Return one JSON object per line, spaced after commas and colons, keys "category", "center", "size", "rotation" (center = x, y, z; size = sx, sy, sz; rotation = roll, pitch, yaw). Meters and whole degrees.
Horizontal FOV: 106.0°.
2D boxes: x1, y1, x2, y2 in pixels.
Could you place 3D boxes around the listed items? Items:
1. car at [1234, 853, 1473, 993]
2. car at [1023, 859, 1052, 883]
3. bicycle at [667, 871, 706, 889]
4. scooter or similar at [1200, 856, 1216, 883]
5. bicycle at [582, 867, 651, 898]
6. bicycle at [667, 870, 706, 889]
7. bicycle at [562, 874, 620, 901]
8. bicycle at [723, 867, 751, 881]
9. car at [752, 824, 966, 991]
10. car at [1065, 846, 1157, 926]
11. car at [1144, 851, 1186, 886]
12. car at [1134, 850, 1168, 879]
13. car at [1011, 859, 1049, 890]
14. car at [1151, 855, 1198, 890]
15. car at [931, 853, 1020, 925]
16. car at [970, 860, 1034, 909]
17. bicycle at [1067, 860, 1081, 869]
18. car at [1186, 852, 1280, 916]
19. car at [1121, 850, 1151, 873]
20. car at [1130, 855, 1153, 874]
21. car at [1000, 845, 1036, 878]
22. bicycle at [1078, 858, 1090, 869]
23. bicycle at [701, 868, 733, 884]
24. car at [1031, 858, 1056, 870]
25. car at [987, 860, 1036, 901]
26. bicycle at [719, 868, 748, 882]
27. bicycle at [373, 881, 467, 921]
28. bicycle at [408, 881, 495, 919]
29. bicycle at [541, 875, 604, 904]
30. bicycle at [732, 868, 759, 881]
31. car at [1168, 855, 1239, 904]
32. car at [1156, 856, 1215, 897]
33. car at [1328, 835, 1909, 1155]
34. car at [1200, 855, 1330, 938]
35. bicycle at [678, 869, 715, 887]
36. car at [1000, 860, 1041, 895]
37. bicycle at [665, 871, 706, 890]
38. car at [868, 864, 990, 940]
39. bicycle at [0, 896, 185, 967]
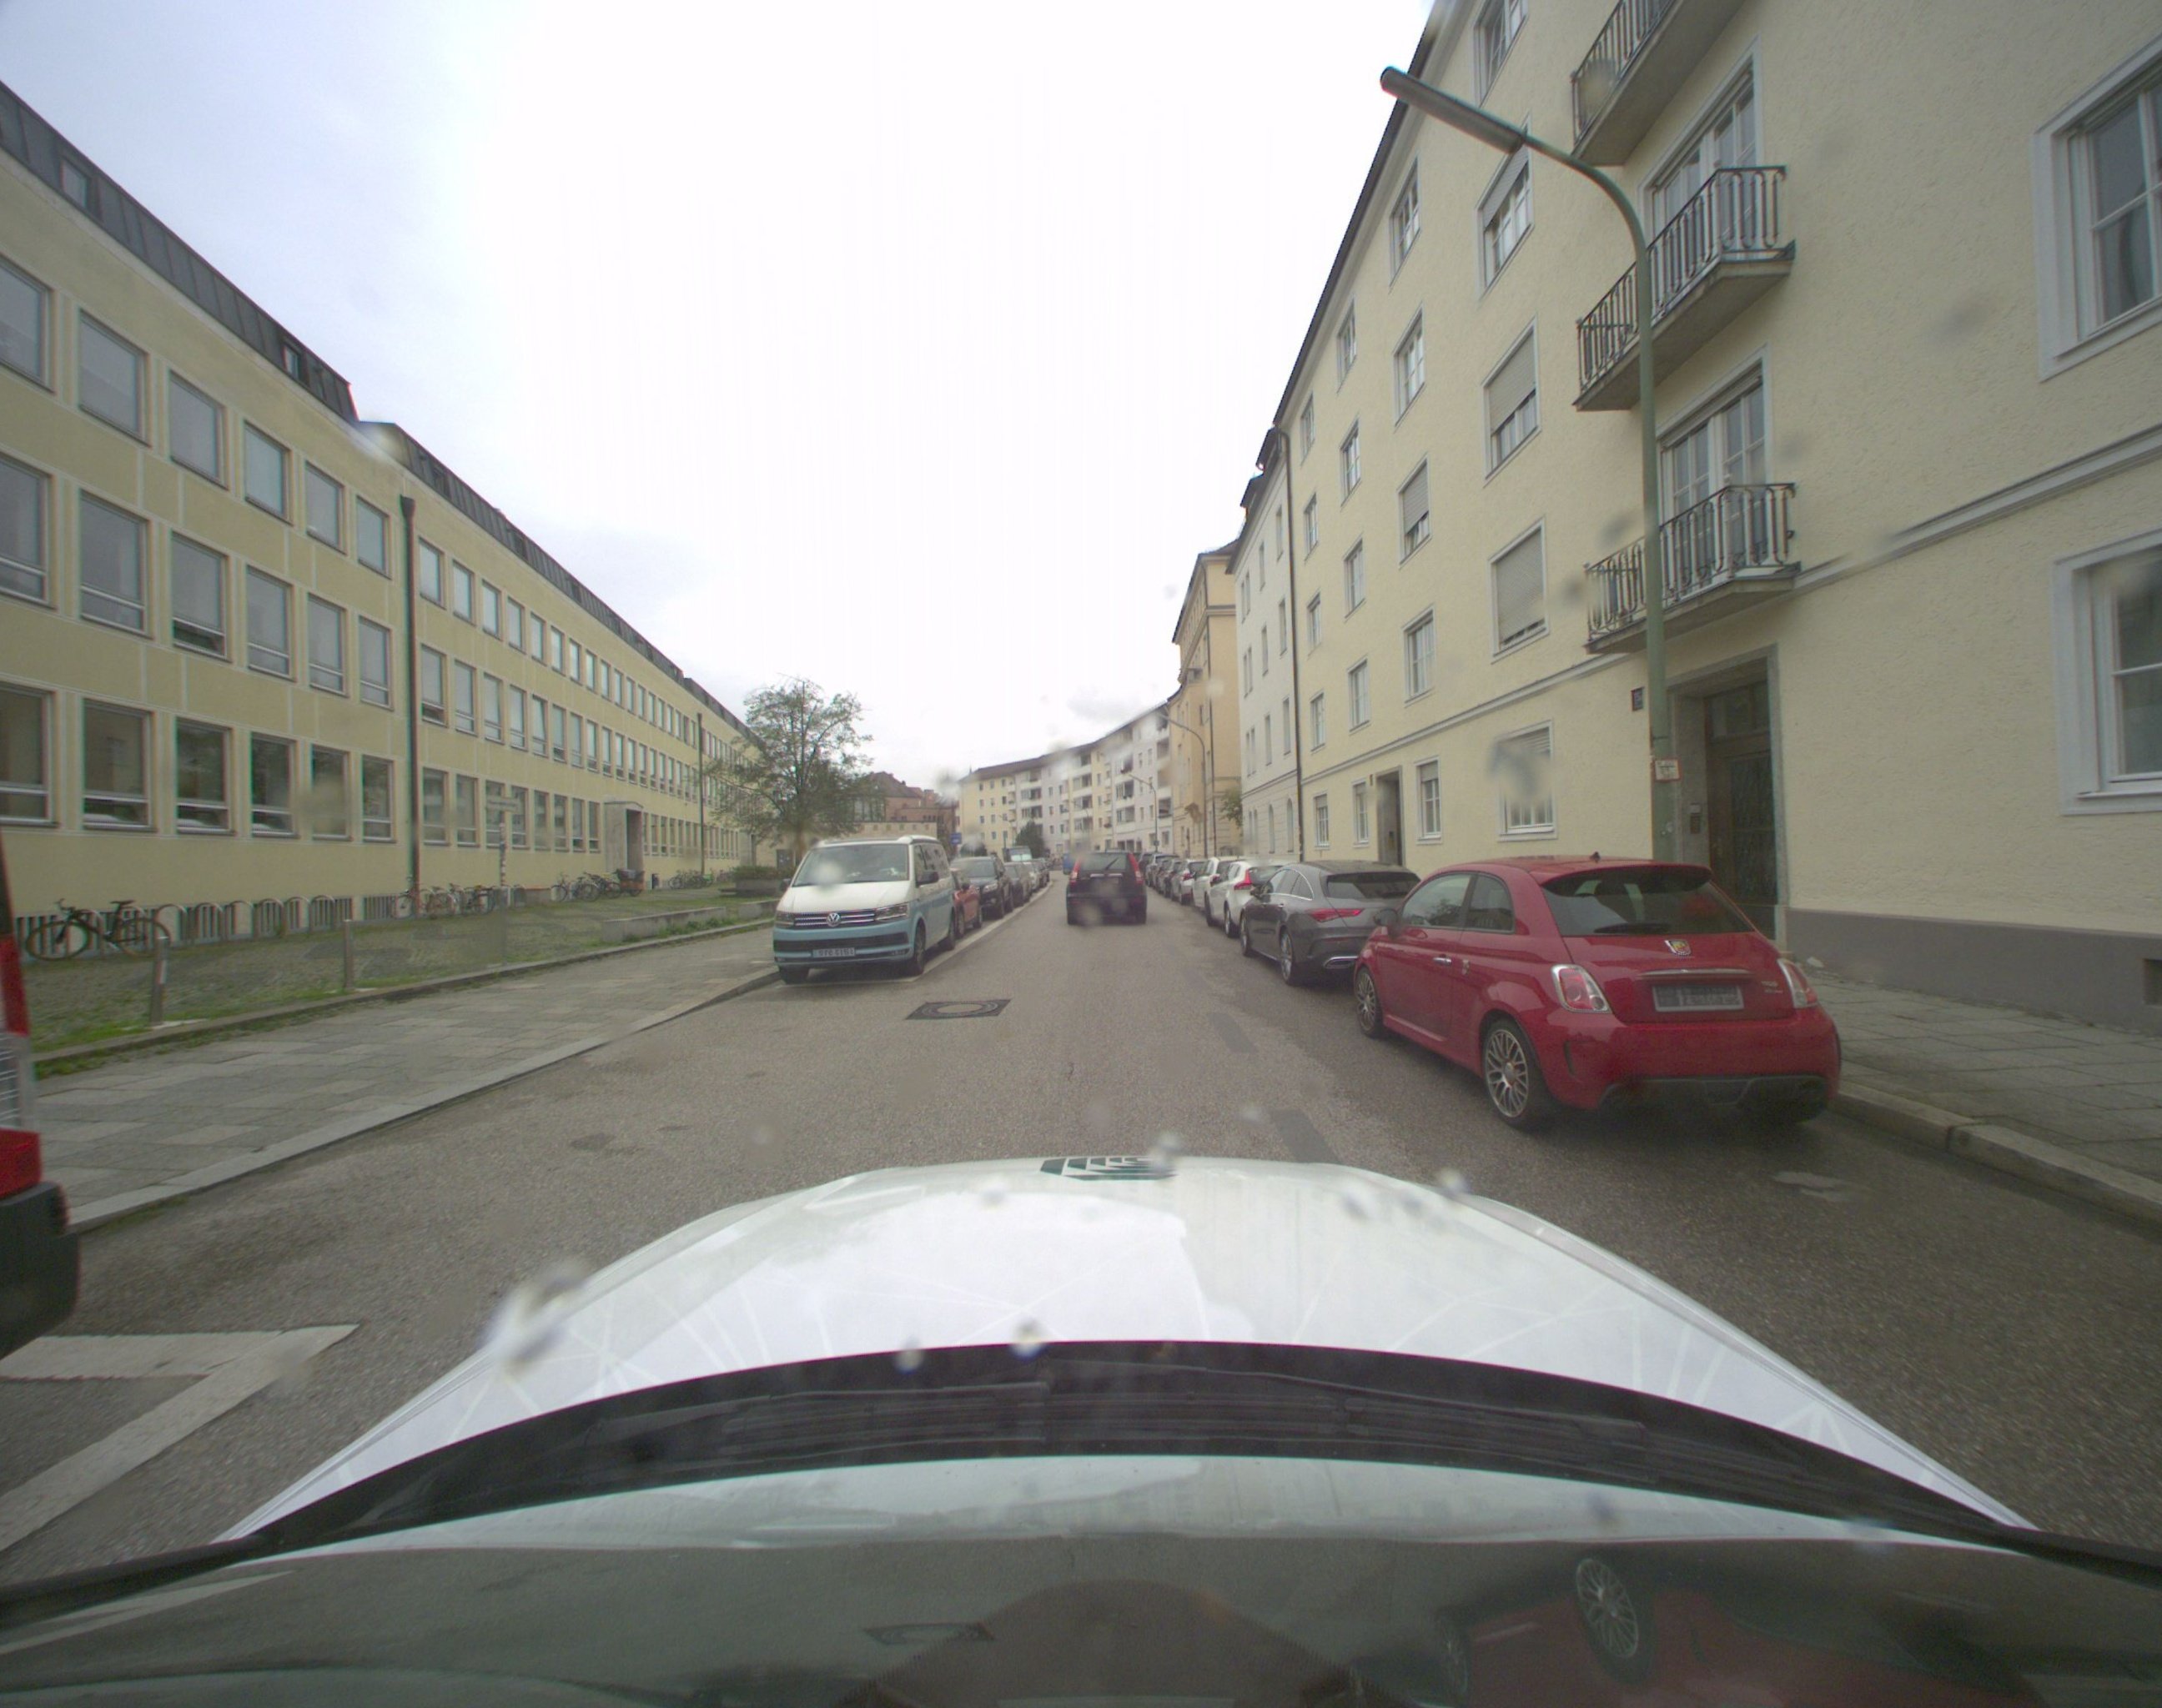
{"category": "car", "center": [3.238, 0.730, 10.657], "size": [1.673, 1.410, 4.422], "rotation": [-2, 0, 1]}
{"category": "car", "center": [-2.879, 1.083, 53.937], "size": [1.795, 1.406, 4.450], "rotation": [-4, 0, -3]}
{"category": "bicycle", "center": [-22.845, 1.499, 47.199], "size": [1.948, 1.014, 0.623], "rotation": [-2, 0, -13]}
{"category": "scooter or similar", "center": [5.549, 0.685, 35.747], "size": [0.483, 1.164, 1.172], "rotation": [-1, -1, -1]}
{"category": "bicycle", "center": [-20.773, 1.257, 36.490], "size": [2.439, 1.248, 1.051], "rotation": [-2, 0, -16]}
{"category": "bicycle", "center": [-23.421, 1.497, 48.329], "size": [1.948, 1.014, 0.623], "rotation": [-2, 0, -13]}
{"category": "bicycle", "center": [-20.383, 1.374, 33.896], "size": [1.950, 1.014, 0.622], "rotation": [-2, 0, -16]}
{"category": "bicycle", "center": [-26.616, 1.574, 63.023], "size": [1.950, 1.014, 0.622], "rotation": [-2, 0, -16]}
{"category": "car", "center": [-3.126, 0.679, 12.675], "size": [1.923, 1.979, 5.020], "rotation": [-3, 0, -1]}
{"category": "car", "center": [0.605, 0.702, 19.475], "size": [1.886, 1.647, 3.988], "rotation": [-2, 0, -2]}
{"category": "car", "center": [4.234, 0.700, 41.655], "size": [1.716, 1.634, 4.458], "rotation": [-2, 0, 1]}
{"category": "car", "center": [4.398, 0.666, 51.534], "size": [1.862, 1.717, 4.867], "rotation": [0, 0, 2]}
{"category": "car", "center": [-2.705, 1.073, 44.043], "size": [1.749, 1.453, 4.395], "rotation": [-4, 0, 0]}
{"category": "car", "center": [4.118, 0.796, 36.534], "size": [1.673, 1.427, 4.087], "rotation": [-2, 0, 1]}
{"category": "car", "center": [-2.842, 0.894, 22.878], "size": [1.738, 1.666, 4.449], "rotation": [-5, 0, 1]}
{"category": "car", "center": [-2.651, 1.006, 28.074], "size": [1.674, 1.453, 3.870], "rotation": [-4, 0, 1]}
{"category": "bicycle", "center": [-0.940, 1.408, 108.248], "size": [1.873, 1.091, 0.561], "rotation": [-1, -1, -21]}
{"category": "car", "center": [3.871, 0.722, 21.368], "size": [1.674, 1.481, 4.166], "rotation": [-2, 0, 0]}
{"category": "car", "center": [4.572, 0.629, 68.655], "size": [1.776, 1.807, 4.266], "rotation": [0, 0, -7]}
{"category": "car", "center": [4.722, 0.819, 63.807], "size": [1.701, 1.447, 3.832], "rotation": [0, 0, 3]}
{"category": "car", "center": [-5.470, 0.614, 70.124], "size": [2.166, 2.641, 5.991], "rotation": [-3, 0, -12]}
{"category": "bicycle", "center": [0.362, 1.171, 100.528], "size": [0.970, 1.388, 2.551], "rotation": [-1, -1, -14]}
{"category": "bicycle", "center": [-25.709, 1.560, 57.504], "size": [1.944, 1.014, 0.624], "rotation": [-2, 0, -6]}
{"category": "car", "center": [-4.859, 1.285, 105.403], "size": [1.733, 1.483, 3.965], "rotation": [-1, 0, -26]}
{"category": "car", "center": [-2.786, 1.028, 33.331], "size": [1.652, 1.453, 3.972], "rotation": [-4, 0, -1]}
{"category": "bicycle", "center": [-27.175, 1.613, 63.748], "size": [1.946, 1.014, 0.623], "rotation": [-2, 0, -10]}
{"category": "bicycle", "center": [-18.287, 1.286, 22.577], "size": [1.946, 1.014, 0.623], "rotation": [-2, 0, -9]}
{"category": "bicycle", "center": [-18.518, 1.352, 23.991], "size": [1.946, 1.014, 0.623], "rotation": [-2, 0, -9]}
{"category": "bicycle", "center": [-19.713, 1.360, 31.611], "size": [1.950, 1.014, 0.622], "rotation": [-2, 0, -16]}
{"category": "bicycle", "center": [-27.506, 1.680, 66.833], "size": [1.949, 1.014, 0.623], "rotation": [-2, 0, -14]}
{"category": "car", "center": [3.905, 0.783, 26.610], "size": [1.674, 1.427, 4.166], "rotation": [-2, 0, 0]}
{"category": "car", "center": [3.916, 0.809, 31.192], "size": [1.673, 1.427, 4.390], "rotation": [-2, 0, 0]}
{"category": "car", "center": [3.189, 0.697, 5.868], "size": [1.673, 1.497, 3.824], "rotation": [-2, 0, 1]}
{"category": "car", "center": [3.560, 0.762, 16.533], "size": [1.673, 1.410, 4.443], "rotation": [-2, 0, 1]}
{"category": "bicycle", "center": [-23.511, 1.480, 49.811], "size": [1.948, 1.014, 0.623], "rotation": [-2, 0, -13]}
{"category": "car", "center": [-2.838, 1.072, 38.911], "size": [1.652, 1.453, 4.070], "rotation": [-4, 0, -1]}
{"category": "bicycle", "center": [-22.539, 1.490, 46.427], "size": [1.946, 1.014, 0.623], "rotation": [-2, 0, -10]}
{"category": "car", "center": [-3.111, 0.935, 17.418], "size": [1.737, 1.387, 3.919], "rotation": [-1, 0, 2]}
{"category": "bicycle", "center": [-15.808, 1.220, 13.037], "size": [1.951, 1.014, 0.578], "rotation": [0, -1, -16]}
